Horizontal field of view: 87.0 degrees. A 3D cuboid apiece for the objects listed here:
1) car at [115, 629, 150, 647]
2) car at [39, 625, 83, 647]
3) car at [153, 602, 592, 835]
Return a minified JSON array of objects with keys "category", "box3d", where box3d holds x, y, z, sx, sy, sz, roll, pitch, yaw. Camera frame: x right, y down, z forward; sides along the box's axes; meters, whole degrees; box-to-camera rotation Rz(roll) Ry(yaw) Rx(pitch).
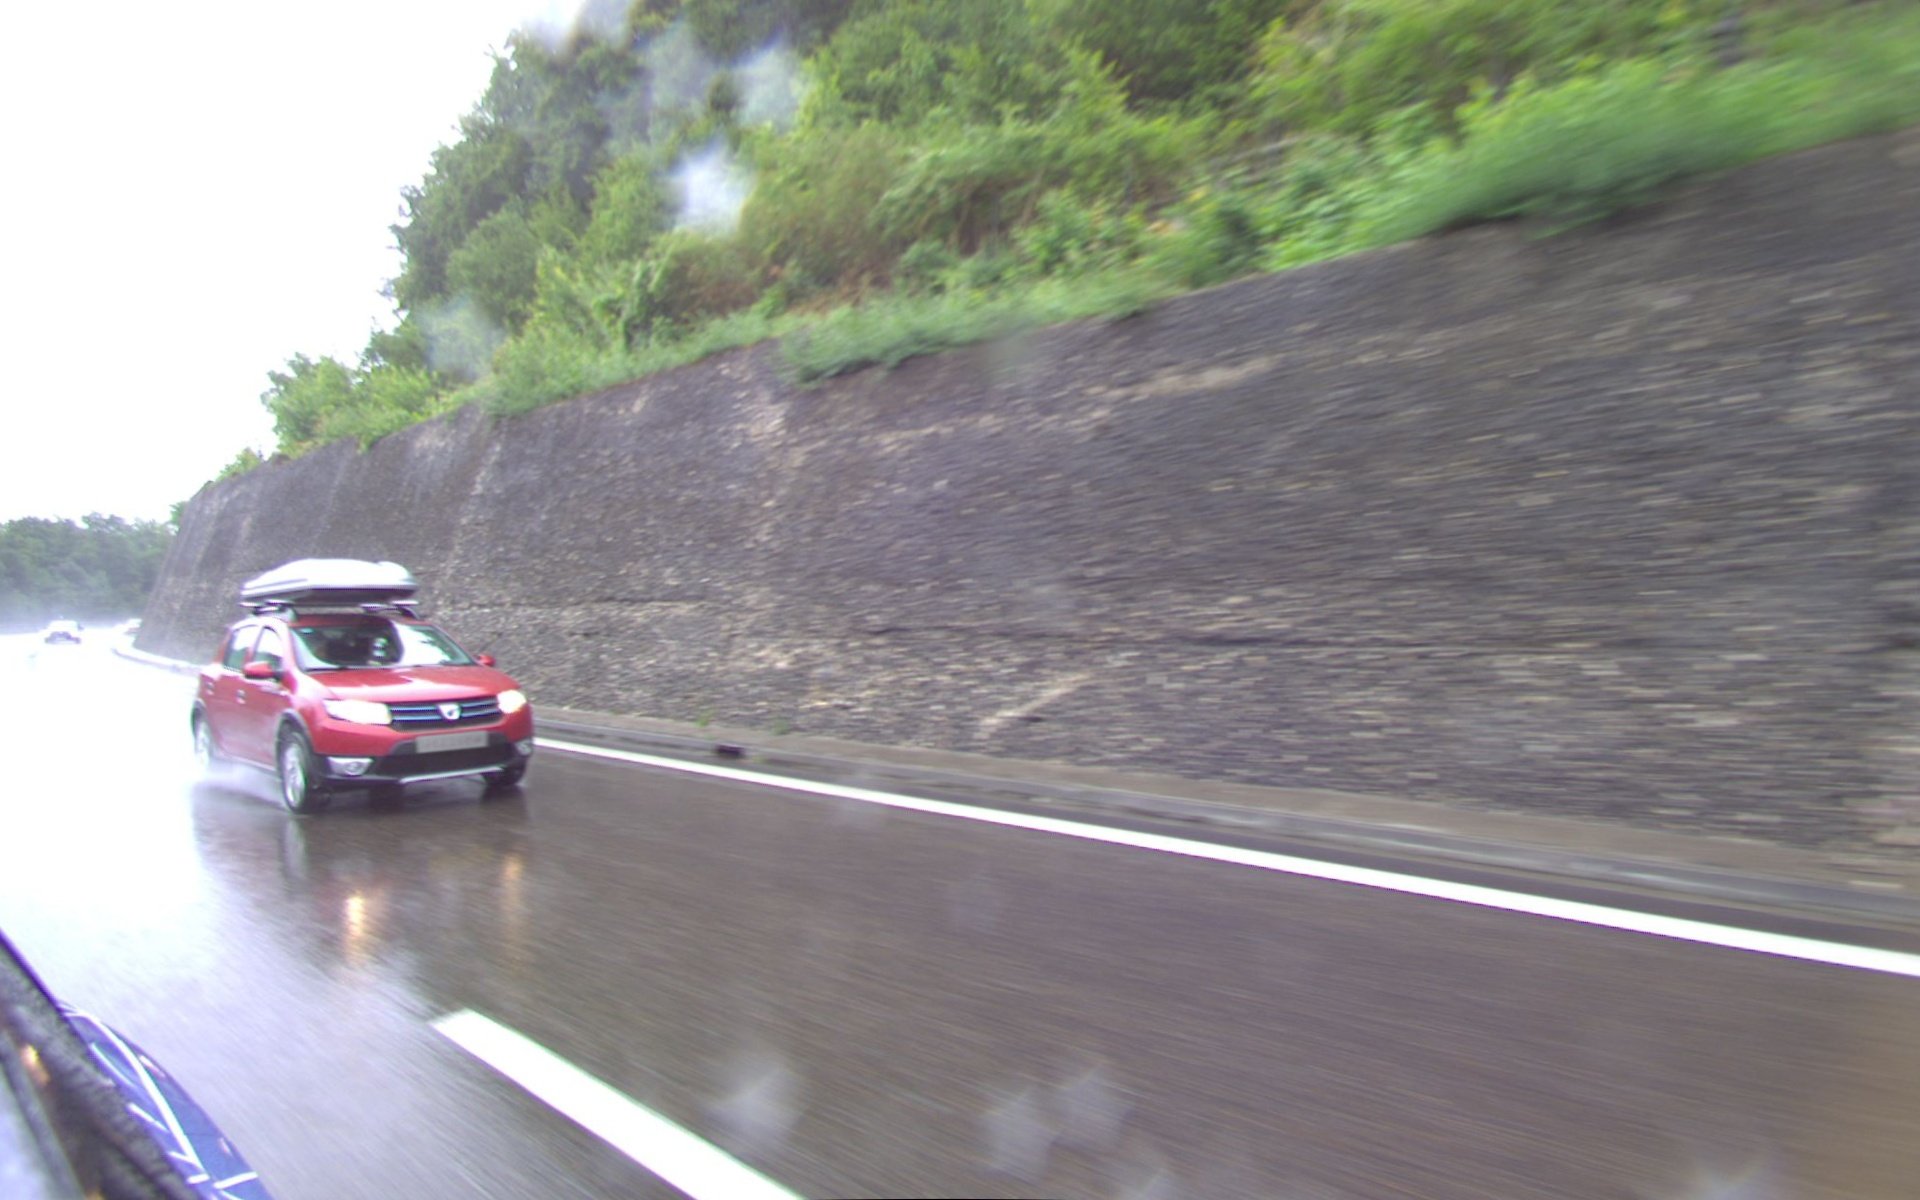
[{"category":"car","box3d":[-73.720,3.403,90.201,1.798,1.393,4.012,-3,1,-32]},{"category":"car","box3d":[-59.104,2.352,66.571,1.799,1.393,4.009,0,-1,-37]},{"category":"car","box3d":[-5.223,0.849,8.831,3.994,1.564,1.975,-2,-2,38]}]
